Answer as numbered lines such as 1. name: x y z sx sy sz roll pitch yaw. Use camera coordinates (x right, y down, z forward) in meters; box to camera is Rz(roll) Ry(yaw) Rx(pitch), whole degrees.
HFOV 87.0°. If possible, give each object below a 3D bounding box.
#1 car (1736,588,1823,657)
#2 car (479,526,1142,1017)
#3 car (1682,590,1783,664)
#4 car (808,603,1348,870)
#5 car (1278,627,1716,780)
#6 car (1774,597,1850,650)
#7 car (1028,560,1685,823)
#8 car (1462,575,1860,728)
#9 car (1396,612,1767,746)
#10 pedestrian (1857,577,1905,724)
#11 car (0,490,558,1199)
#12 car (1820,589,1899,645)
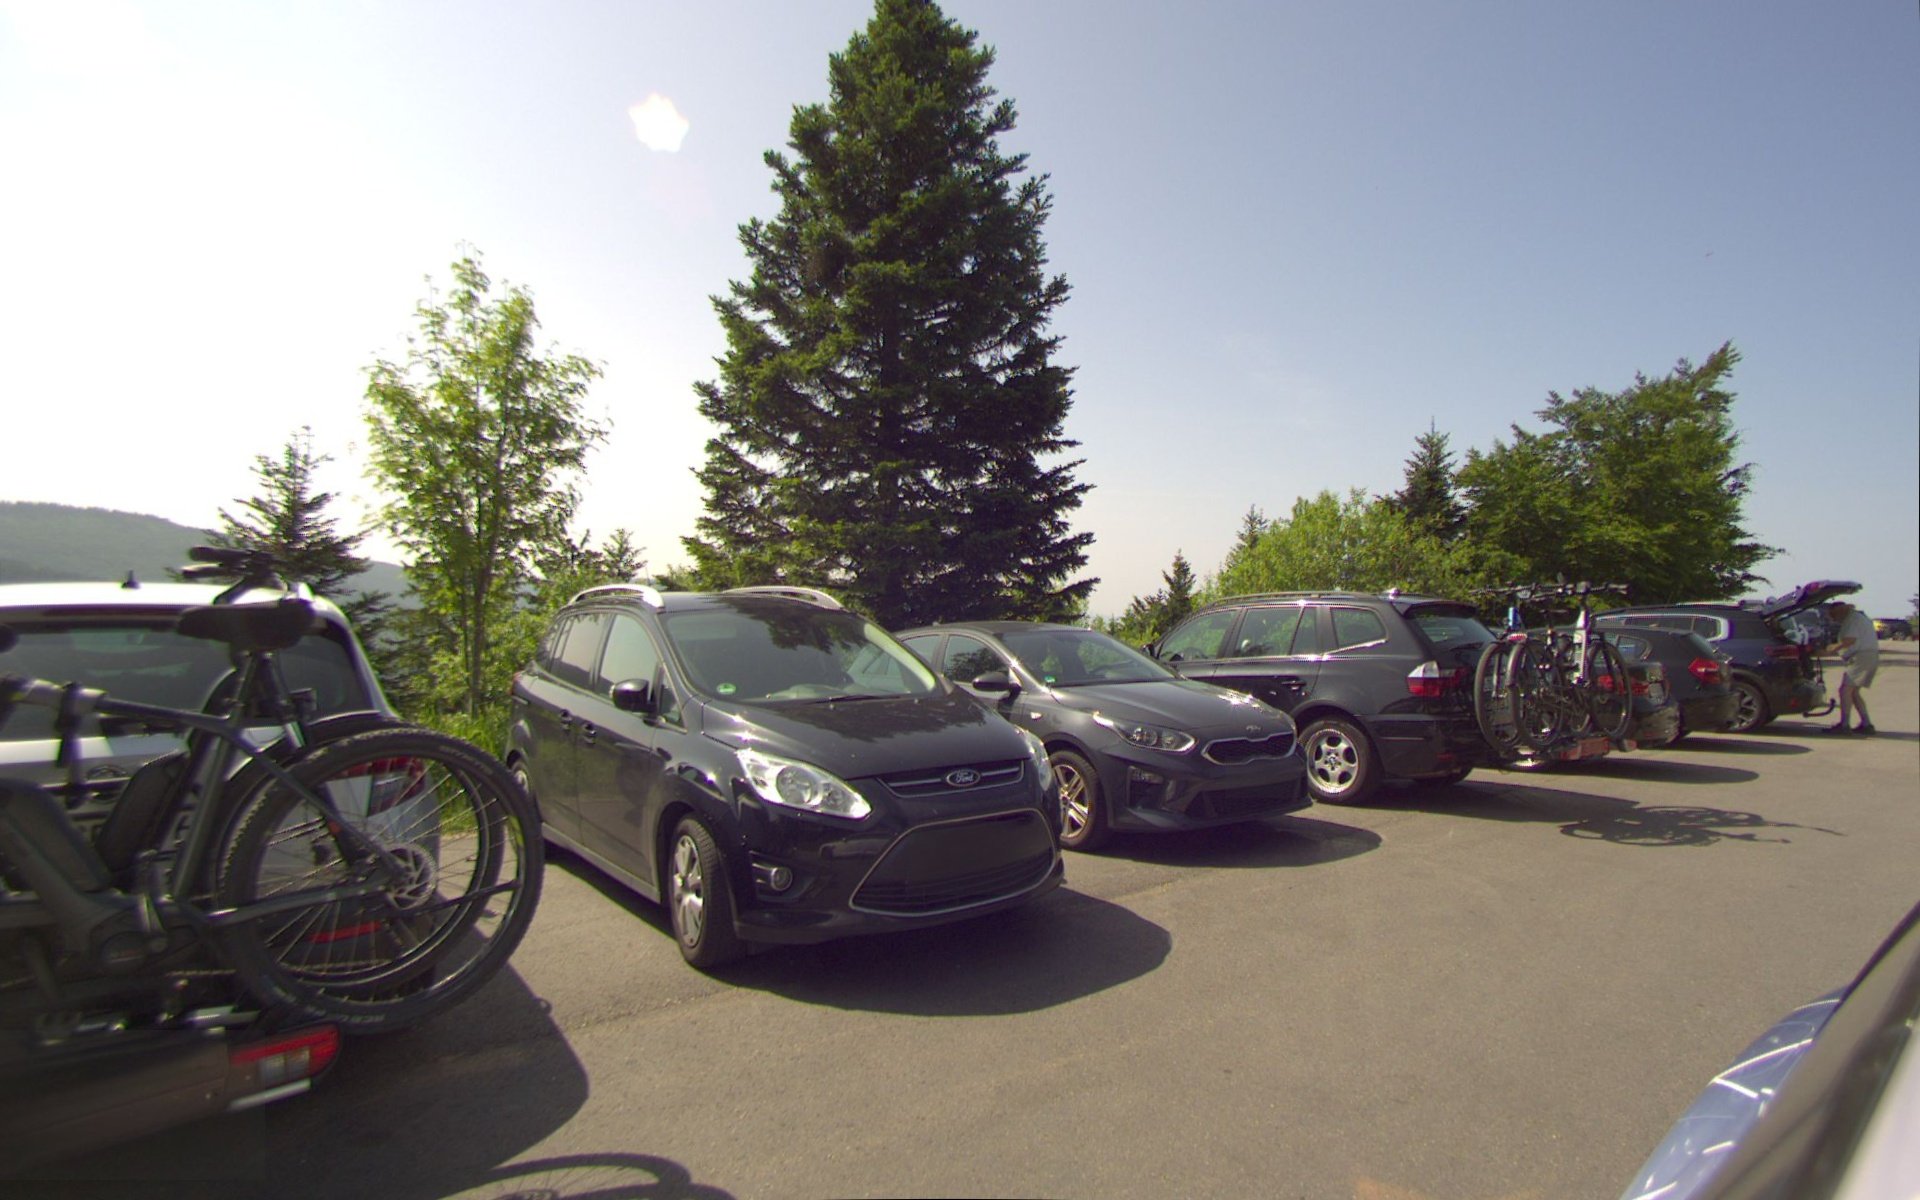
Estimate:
1. car: 26.106 0.648 32.199 1.992 2.039 3.940 0 0 41
2. car: -1.243 0.647 5.686 1.721 1.639 4.428 1 -2 -38
3. car: 21.166 0.673 27.667 1.861 1.864 3.823 0 0 43
4. car: 0.557 0.814 7.777 1.657 1.450 4.325 1 -2 -35
5. car: 5.348 0.925 10.487 1.536 1.285 3.707 2 -2 -39
6. car: 30.553 0.788 36.339 1.991 1.766 3.942 0 0 40
7. car: 3.047 0.692 8.982 1.963 1.641 5.112 1 -3 -37
8. car: 9.816 0.623 14.484 1.964 1.845 4.322 1 0 -39
9. car: 7.646 0.859 12.655 1.710 1.368 3.675 0 0 -45
10. pedestrian: 11.828 0.628 12.992 0.539 1.845 0.367 1 0 -40
11. car: -3.193 0.653 3.755 1.977 1.648 4.485 0 -1 -38
12. car: 35.116 0.634 39.604 1.989 2.039 3.946 1 0 37
